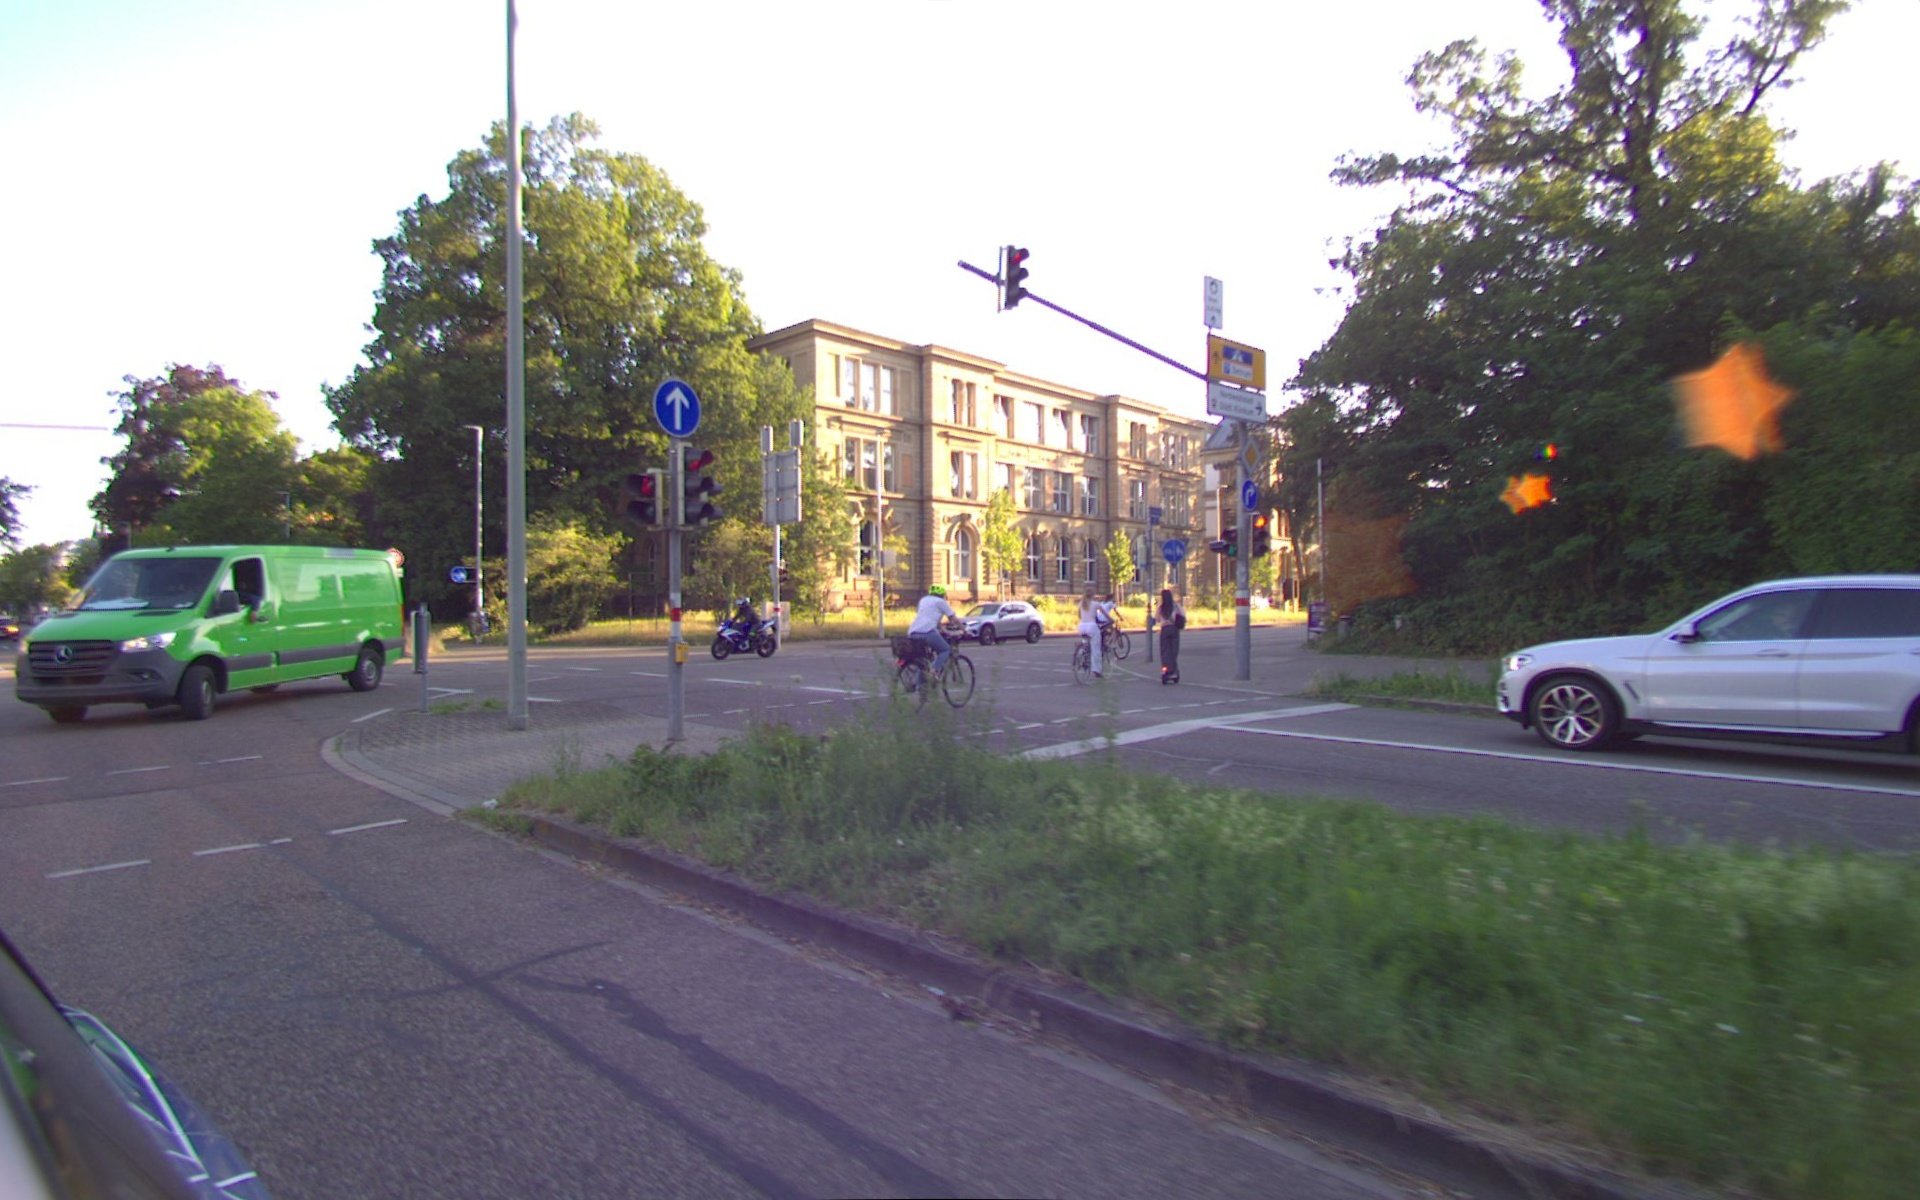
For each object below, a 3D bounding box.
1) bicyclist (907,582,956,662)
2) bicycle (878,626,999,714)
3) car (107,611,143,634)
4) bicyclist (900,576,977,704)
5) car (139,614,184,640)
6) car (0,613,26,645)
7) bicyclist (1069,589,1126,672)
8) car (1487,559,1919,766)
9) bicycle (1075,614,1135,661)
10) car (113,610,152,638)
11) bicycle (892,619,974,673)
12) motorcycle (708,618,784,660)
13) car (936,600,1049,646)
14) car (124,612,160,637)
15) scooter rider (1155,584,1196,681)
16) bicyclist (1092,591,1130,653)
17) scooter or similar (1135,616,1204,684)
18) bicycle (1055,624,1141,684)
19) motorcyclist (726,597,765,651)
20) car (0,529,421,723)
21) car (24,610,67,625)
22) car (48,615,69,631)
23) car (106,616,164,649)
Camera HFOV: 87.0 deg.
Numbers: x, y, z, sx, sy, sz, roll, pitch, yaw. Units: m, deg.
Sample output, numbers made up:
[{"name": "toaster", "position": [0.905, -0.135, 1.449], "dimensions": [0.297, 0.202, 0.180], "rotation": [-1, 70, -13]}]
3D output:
[{"name": "bicyclist", "position": [-0.614, 0.467, 21.886], "dimensions": [0.701, 1.679, 0.787], "rotation": [0, 0, 44]}, {"name": "bicycle", "position": [-0.247, 0.866, 13.101], "dimensions": [0.564, 1.022, 1.779], "rotation": [-1, -1, 37]}, {"name": "car", "position": [-69.847, 1.846, 84.618], "dimensions": [4.002, 1.829, 1.971], "rotation": [1, 0, 45]}, {"name": "bicyclist", "position": [-0.271, 0.500, 13.079], "dimensions": [0.555, 1.581, 0.887], "rotation": [-1, -1, 38]}, {"name": "car", "position": [-52.952, 1.793, 67.093], "dimensions": [1.909, 1.655, 4.003], "rotation": [0, -1, -44]}, {"name": "car", "position": [-55.062, 1.650, 58.176], "dimensions": [1.970, 1.807, 4.004], "rotation": [0, -1, -43]}, {"name": "bicyclist", "position": [2.591, 0.560, 19.060], "dimensions": [0.760, 1.529, 0.846], "rotation": [0, 0, 36]}, {"name": "car", "position": [7.585, 0.533, 9.188], "dimensions": [1.800, 1.625, 4.646], "rotation": [3, -3, -43]}, {"name": "bicycle", "position": [3.813, 0.963, 26.511], "dimensions": [0.615, 1.146, 1.857], "rotation": [0, 0, 44]}, {"name": "car", "position": [-65.780, 1.871, 80.455], "dimensions": [4.002, 2.029, 1.971], "rotation": [1, 0, 45]}, {"name": "bicycle", "position": [-0.567, 0.973, 21.931], "dimensions": [0.701, 1.071, 1.799], "rotation": [0, 0, 44]}, {"name": "motorcycle", "position": [-5.562, 1.000, 26.397], "dimensions": [0.757, 1.009, 1.852], "rotation": [-1, -1, 44]}, {"name": "car", "position": [1.290, 0.846, 38.301], "dimensions": [1.770, 1.648, 4.449], "rotation": [-1, -1, 43]}, {"name": "car", "position": [-61.877, 1.826, 76.555], "dimensions": [1.773, 1.741, 4.003], "rotation": [0, 0, -44]}, {"name": "scooter rider", "position": [4.018, 0.600, 18.859], "dimensions": [0.497, 1.780, 0.567], "rotation": [1, -2, -45]}, {"name": "bicyclist", "position": [3.988, 0.575, 26.701], "dimensions": [0.606, 1.598, 0.897], "rotation": [0, 0, 44]}, {"name": "scooter or similar", "position": [3.884, 0.906, 18.718], "dimensions": [0.564, 1.198, 1.401], "rotation": [-1, -1, 45]}, {"name": "bicycle", "position": [2.623, 0.987, 19.094], "dimensions": [0.772, 1.014, 1.992], "rotation": [0, 0, 36]}, {"name": "motorcyclist", "position": [-5.593, 0.629, 26.372], "dimensions": [0.752, 1.368, 0.694], "rotation": [-2, -2, 44]}, {"name": "car", "position": [-10.727, 0.302, 15.050], "dimensions": [2.018, 2.295, 5.936], "rotation": [-1, 0, 3]}, {"name": "car", "position": [-108.478, 2.076, 120.070], "dimensions": [3.703, 1.630, 1.824], "rotation": [0, -1, -44]}, {"name": "car", "position": [-104.289, 2.680, 117.093], "dimensions": [1.652, 1.741, 3.639], "rotation": [0, -1, -44]}, {"name": "car", "position": [-37.631, 1.454, 46.131], "dimensions": [1.710, 1.419, 4.143], "rotation": [0, -1, -44]}]
